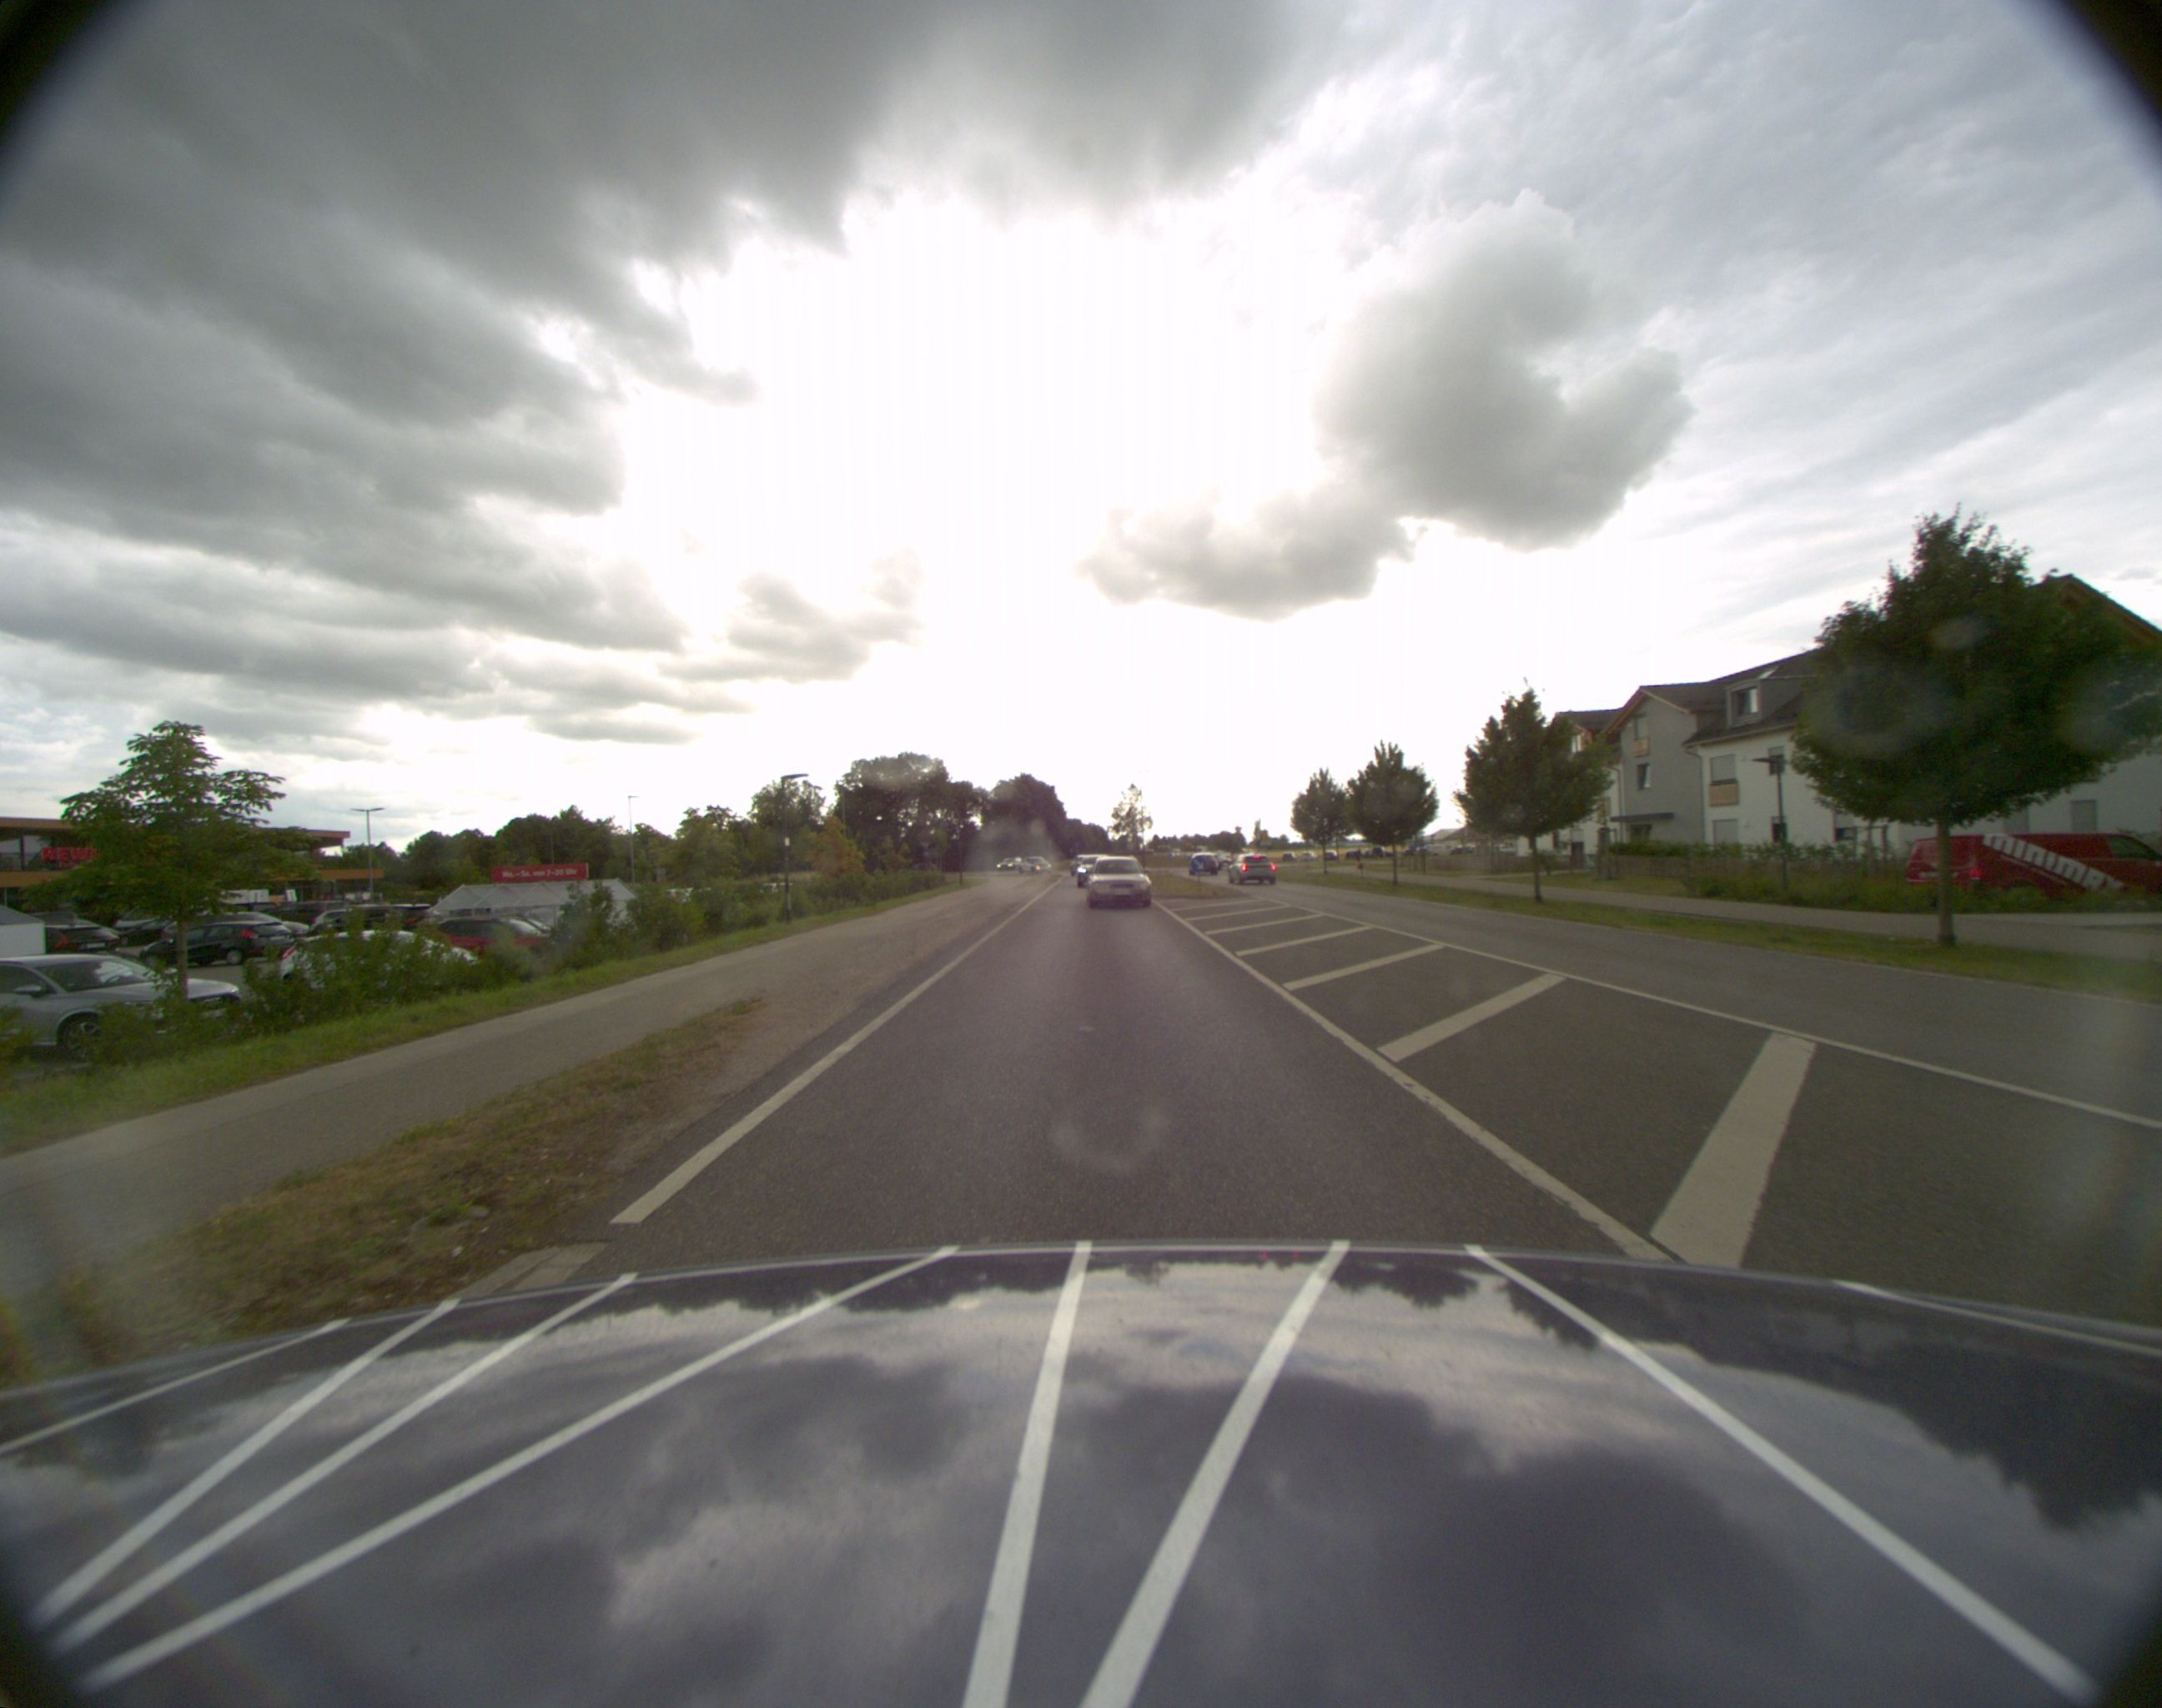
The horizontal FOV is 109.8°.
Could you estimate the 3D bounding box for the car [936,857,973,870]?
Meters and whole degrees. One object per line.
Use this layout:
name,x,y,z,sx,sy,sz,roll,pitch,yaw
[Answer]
car,-14.919,1.111,89.407,4.004,1.412,1.713,-1,0,-21

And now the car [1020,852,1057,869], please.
car,-4.006,0.638,71.149,2.003,1.510,3.762,-1,0,-28

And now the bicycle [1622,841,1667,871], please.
bicycle,27.899,0.095,37.652,0.684,1.420,2.094,-1,0,1

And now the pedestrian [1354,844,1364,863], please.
pedestrian,22.829,-0.041,62.366,0.547,1.521,0.586,-4,0,1

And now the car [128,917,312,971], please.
car,-29.501,3.070,26.140,3.997,1.433,2.000,-3,0,0

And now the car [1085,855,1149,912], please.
car,1.101,0.798,22.620,1.700,1.458,4.001,-1,1,4

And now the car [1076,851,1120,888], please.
car,0.895,0.681,37.077,1.869,1.578,5.063,-3,1,3

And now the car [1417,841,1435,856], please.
car,47.521,-0.718,104.628,1.995,2.002,4.007,-1,0,29

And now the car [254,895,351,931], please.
car,-47.591,3.585,46.499,3.995,2.002,2.072,-1,0,5

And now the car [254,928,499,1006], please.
car,-16.527,2.640,17.970,4.157,1.529,1.676,-1,0,-1

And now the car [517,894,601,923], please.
car,-29.952,3.119,43.691,3.558,1.524,1.753,-1,0,0

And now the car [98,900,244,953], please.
car,-38.281,3.027,32.034,3.995,2.002,2.001,-1,0,5

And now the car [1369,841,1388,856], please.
car,41.003,-0.789,104.753,1.996,2.002,4.005,-1,0,16

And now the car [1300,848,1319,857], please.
car,32.829,-0.171,109.178,1.995,1.280,4.007,-1,0,26

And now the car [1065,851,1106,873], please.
car,0.326,0.630,59.827,2.002,1.674,3.994,-1,0,-18

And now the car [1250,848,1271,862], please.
car,19.879,0.106,84.143,1.829,1.480,4.218,-1,0,7

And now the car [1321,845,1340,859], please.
car,35.506,-0.276,108.188,1.995,2.002,4.007,-1,0,26

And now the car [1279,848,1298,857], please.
car,30.193,-0.198,110.692,1.995,1.280,4.007,-1,0,26

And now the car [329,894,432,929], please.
car,-40.437,3.309,43.937,4.269,1.860,2.001,-1,0,5

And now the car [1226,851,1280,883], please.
car,8.293,0.614,37.030,1.774,1.435,4.000,-1,0,1

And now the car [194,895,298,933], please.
car,-48.151,3.423,43.881,3.995,2.002,2.001,-1,0,5

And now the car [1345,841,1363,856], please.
car,38.238,-0.741,106.326,1.995,2.002,4.007,-1,0,26

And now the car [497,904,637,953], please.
car,-18.120,2.612,26.921,3.766,1.529,1.676,-1,0,-1

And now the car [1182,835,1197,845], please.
car,16.637,-2.078,116.178,1.774,1.435,4.000,-1,0,1

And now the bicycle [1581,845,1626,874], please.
bicycle,26.035,0.257,37.918,0.684,1.404,2.344,-1,0,1

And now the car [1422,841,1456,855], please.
car,53.026,-0.920,112.554,4.000,2.002,1.999,-1,0,-8

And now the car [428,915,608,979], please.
car,-15.709,2.572,21.353,3.766,1.529,1.676,-1,0,-1

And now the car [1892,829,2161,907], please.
car,24.048,0.337,19.127,4.915,1.805,1.907,-1,0,6

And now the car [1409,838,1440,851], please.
car,54.278,-1.499,119.955,4.001,2.002,1.998,-1,0,-11

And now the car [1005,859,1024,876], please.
car,-7.509,1.456,85.248,2.000,1.827,3.998,-1,0,-6

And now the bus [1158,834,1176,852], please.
bus,16.919,-2.092,149.168,2.991,3.261,6.485,-1,0,2

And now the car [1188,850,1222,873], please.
car,8.928,0.531,54.854,1.830,1.573,4.216,-1,0,1

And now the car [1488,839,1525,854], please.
car,57.461,-0.992,102.606,4.001,2.002,1.998,-1,0,-11

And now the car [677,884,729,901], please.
car,-35.080,3.527,70.595,1.697,1.352,4.007,-1,0,28

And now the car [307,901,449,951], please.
car,-29.479,3.000,31.927,4.269,1.860,2.001,-1,0,5

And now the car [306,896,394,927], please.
car,-48.508,3.816,50.499,3.995,1.837,2.072,-1,0,5

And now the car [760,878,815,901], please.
car,-24.776,2.980,64.220,1.697,1.707,4.251,-1,0,28

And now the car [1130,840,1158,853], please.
car,8.807,-1.005,105.552,1.994,1.674,4.008,-1,0,38

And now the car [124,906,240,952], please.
car,-48.169,3.997,40.745,3.995,2.002,2.001,-4,0,5

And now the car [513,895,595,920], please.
car,-34.844,3.535,50.321,4.127,1.476,2.001,-1,0,5

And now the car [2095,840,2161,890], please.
car,33.295,0.318,22.215,1.998,1.499,4.000,-1,0,1

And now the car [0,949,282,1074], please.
car,-16.257,2.502,12.407,4.157,1.588,2.080,-1,0,-1

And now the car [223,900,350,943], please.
car,-38.694,3.277,37.068,4.269,1.860,2.001,-1,0,5

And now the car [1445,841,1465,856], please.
car,50.257,-0.761,102.156,2.226,2.002,4.007,-1,0,29
